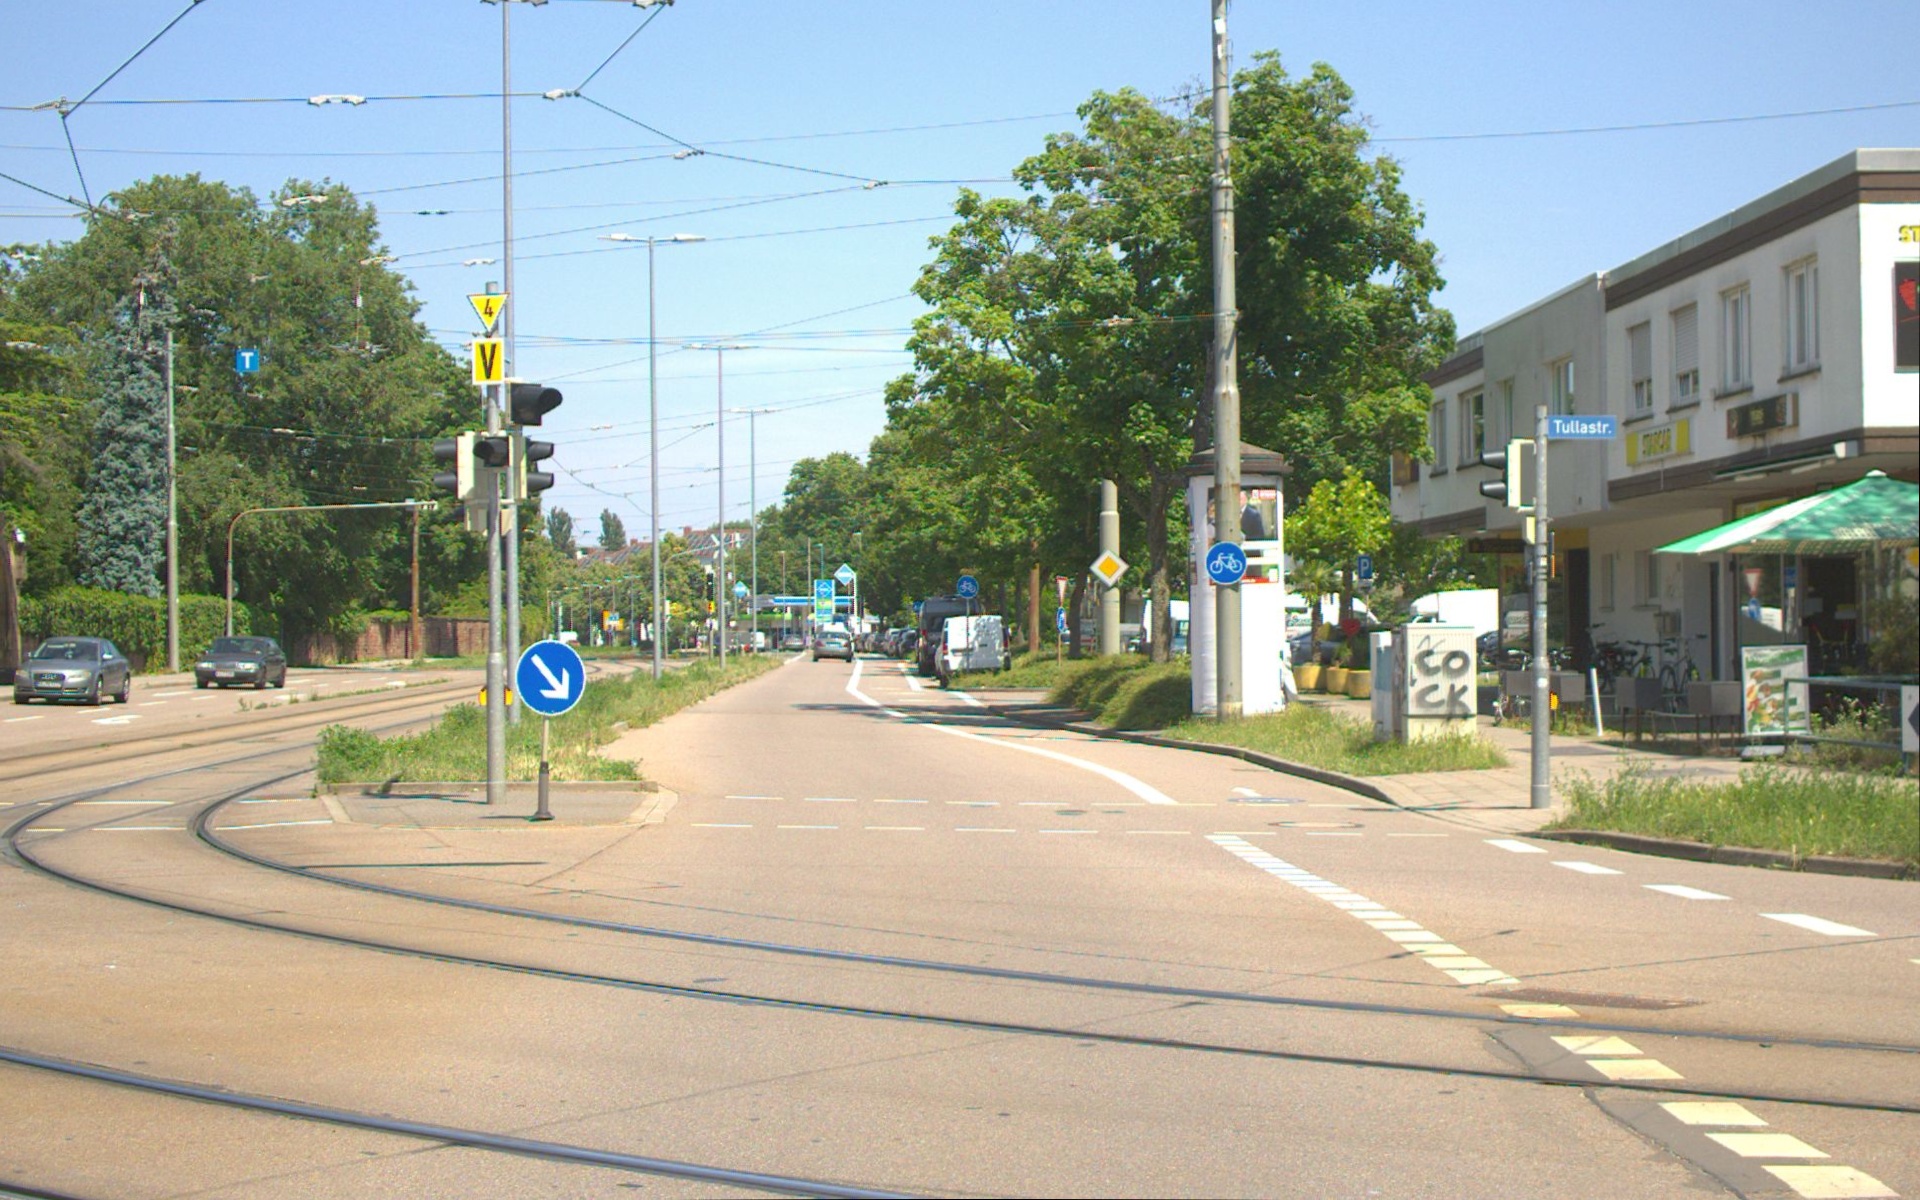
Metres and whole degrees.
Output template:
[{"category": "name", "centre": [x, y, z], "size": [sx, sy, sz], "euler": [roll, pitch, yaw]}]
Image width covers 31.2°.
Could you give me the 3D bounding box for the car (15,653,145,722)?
[{"category": "car", "centre": [-18.738, 1.841, 73.340], "size": [1.641, 1.416, 4.167], "euler": [0, -1, 1]}]

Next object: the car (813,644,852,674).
[{"category": "car", "centre": [-5.886, 2.693, 158.212], "size": [1.636, 1.347, 3.842], "euler": [0, -1, -4]}]

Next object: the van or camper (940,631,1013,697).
[{"category": "van or camper", "centre": [0.437, 1.733, 94.339], "size": [1.922, 1.766, 4.000], "euler": [0, -1, -1]}]

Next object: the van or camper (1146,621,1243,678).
[{"category": "van or camper", "centre": [8.985, 1.910, 131.914], "size": [3.557, 2.138, 1.602], "euler": [0, -1, -3]}]

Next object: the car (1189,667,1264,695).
[{"category": "car", "centre": [9.344, 2.830, 120.513], "size": [2.588, 0.959, 1.149], "euler": [-1, -1, 4]}]

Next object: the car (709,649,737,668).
[{"category": "car", "centre": [-13.734, 3.397, 199.246], "size": [1.492, 1.043, 3.580], "euler": [0, -1, -2]}]

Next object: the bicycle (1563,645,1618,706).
[{"category": "bicycle", "centre": [11.441, 1.379, 62.411], "size": [0.507, 1.062, 1.864], "euler": [1, -2, -5]}]

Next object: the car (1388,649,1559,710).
[{"category": "car", "centre": [11.764, 1.812, 78.807], "size": [3.606, 1.346, 1.491], "euler": [0, -1, -7]}]

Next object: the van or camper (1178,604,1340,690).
[{"category": "van or camper", "centre": [9.329, 1.469, 107.544], "size": [4.756, 2.662, 2.136], "euler": [0, -1, -3]}]

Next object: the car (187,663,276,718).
[{"category": "car", "centre": [-19.442, 2.411, 91.888], "size": [1.641, 1.395, 4.116], "euler": [1, -1, -2]}]

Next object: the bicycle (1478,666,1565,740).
[{"category": "bicycle", "centre": [7.927, 1.449, 48.656], "size": [1.034, 1.011, 2.636], "euler": [-1, -1, 6]}]

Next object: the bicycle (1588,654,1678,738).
[{"category": "bicycle", "centre": [9.516, 1.350, 48.712], "size": [0.989, 1.160, 2.636], "euler": [-1, -1, 6]}]

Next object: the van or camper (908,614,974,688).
[{"category": "van or camper", "centre": [-0.669, 1.717, 116.830], "size": [1.993, 2.456, 4.000], "euler": [0, -1, -4]}]
